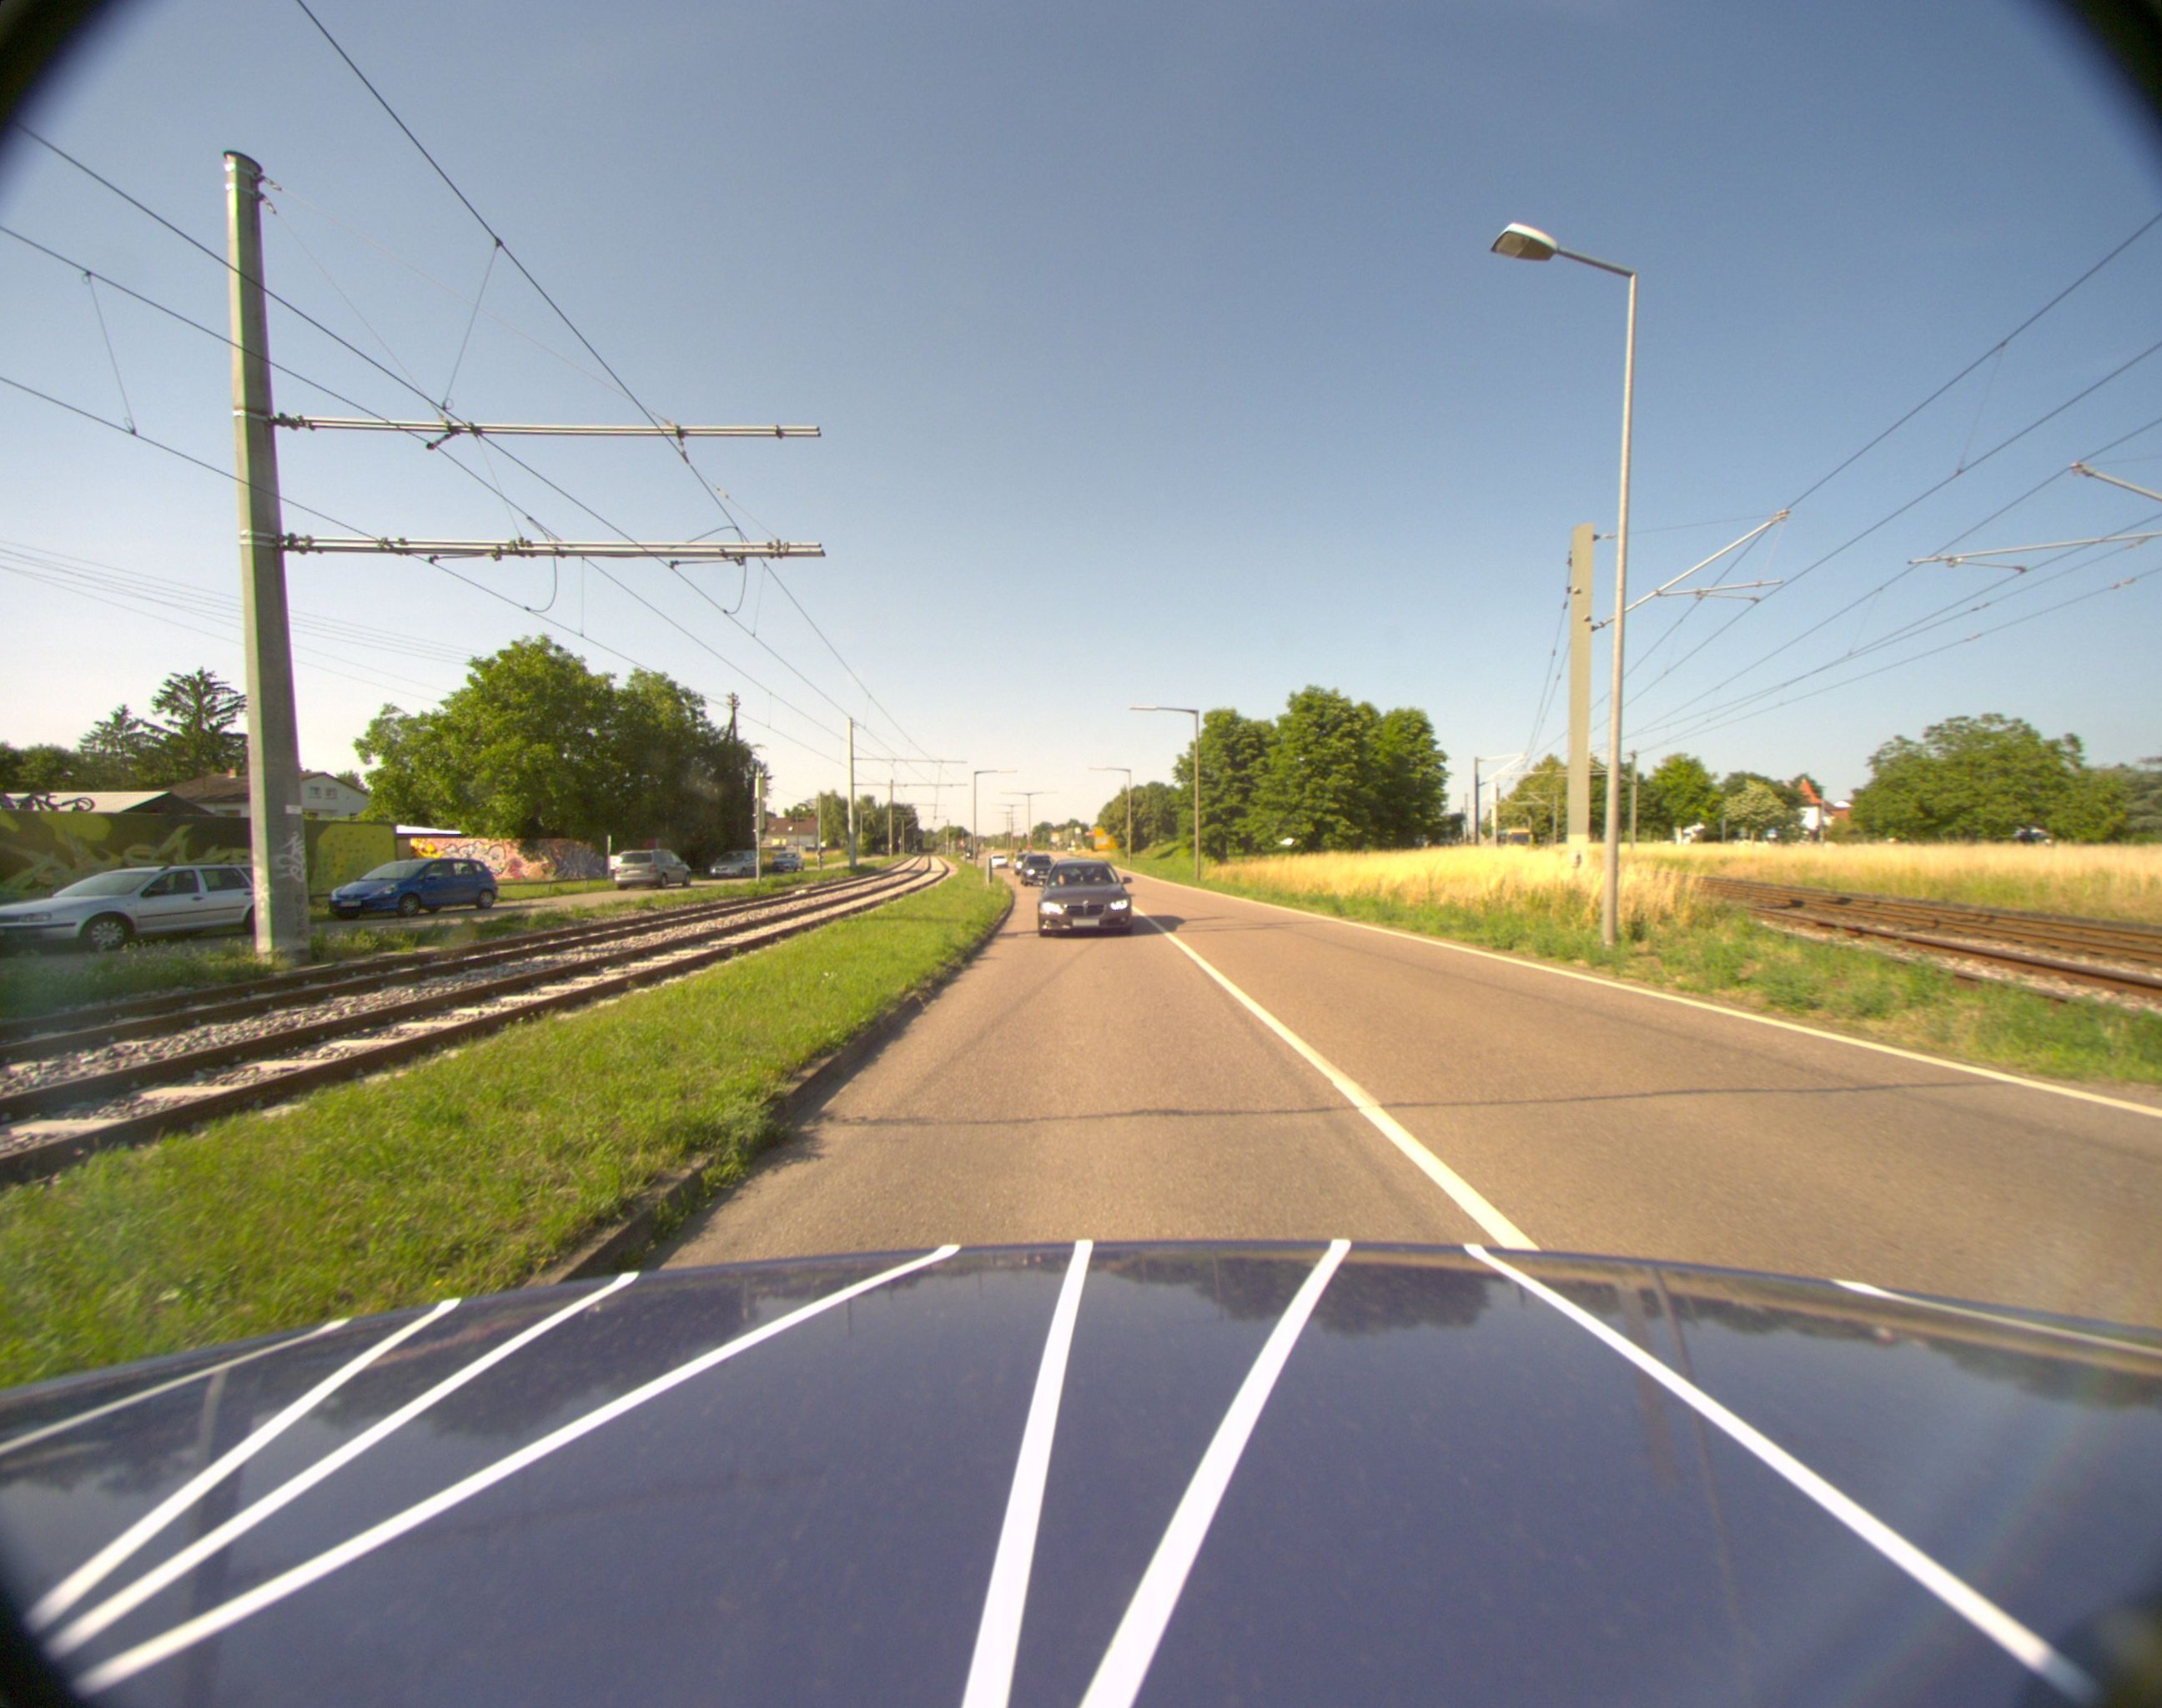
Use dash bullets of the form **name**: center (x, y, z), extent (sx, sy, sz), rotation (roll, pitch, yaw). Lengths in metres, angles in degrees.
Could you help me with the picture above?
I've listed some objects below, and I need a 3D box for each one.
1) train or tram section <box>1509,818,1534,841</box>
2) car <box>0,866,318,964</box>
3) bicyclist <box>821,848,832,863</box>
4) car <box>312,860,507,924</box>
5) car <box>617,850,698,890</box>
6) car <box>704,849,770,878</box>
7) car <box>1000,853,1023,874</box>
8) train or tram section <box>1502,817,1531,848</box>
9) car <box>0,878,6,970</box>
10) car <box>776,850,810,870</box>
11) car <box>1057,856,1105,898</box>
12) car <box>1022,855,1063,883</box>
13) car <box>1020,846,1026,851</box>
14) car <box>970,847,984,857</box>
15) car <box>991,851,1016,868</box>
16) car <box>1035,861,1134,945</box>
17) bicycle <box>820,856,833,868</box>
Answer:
- **train or tram section**: center (69.952, -3.853, 120.485), extent (2.952, 3.465, 12.187), rotation (-1, 1, 32)
- **car**: center (-17.484, 1.019, 14.374), extent (1.714, 1.457, 4.389), rotation (0, 0, -1)
- **bicyclist**: center (-20.212, 0.108, 60.395), extent (0.641, 1.226, 0.790), rotation (-2, 1, -8)
- **car**: center (-17.735, 0.936, 20.356), extent (1.682, 1.422, 3.911), rotation (-2, 0, 0)
- **car**: center (-17.899, 0.614, 32.336), extent (1.527, 1.601, 4.480), rotation (0, 0, -8)
- **car**: center (-19.874, 0.502, 44.172), extent (1.912, 1.581, 4.725), rotation (0, 0, -4)
- **car**: center (-5.404, 0.725, 58.639), extent (1.608, 1.504, 4.265), rotation (-2, 1, -7)
- **train or tram section**: center (56.746, -2.893, 98.802), extent (2.908, 3.549, 14.282), rotation (-1, 3, 31)
- **car**: center (-16.955, 1.097, 9.452), extent (1.489, 1.393, 4.147), rotation (-1, 1, -6)
- **car**: center (-21.308, 0.433, 56.330), extent (1.539, 1.440, 4.127), rotation (0, 0, -10)
- **car**: center (-0.034, 0.842, 29.781), extent (1.711, 1.444, 4.589), rotation (-2, 0, -1)
- **car**: center (-2.124, 0.763, 40.574), extent (1.848, 1.347, 4.151), rotation (-2, 1, -7)
- **car**: center (-19.850, -1.860, 259.035), extent (1.564, 1.369, 3.381), rotation (-3, 2, -13)
- **car**: center (-16.285, -0.285, 119.113), extent (1.838, 1.504, 4.149), rotation (-2, 1, -11)
- **car**: center (-8.063, 0.569, 78.719), extent (1.970, 1.609, 4.302), rotation (-1, 1, -13)
- **car**: center (-0.019, 0.907, 15.736), extent (1.748, 1.444, 3.945), rotation (-2, 0, -3)
- **bicycle**: center (-20.204, 0.633, 60.422), extent (0.645, 0.904, 1.812), rotation (-2, 1, -8)
